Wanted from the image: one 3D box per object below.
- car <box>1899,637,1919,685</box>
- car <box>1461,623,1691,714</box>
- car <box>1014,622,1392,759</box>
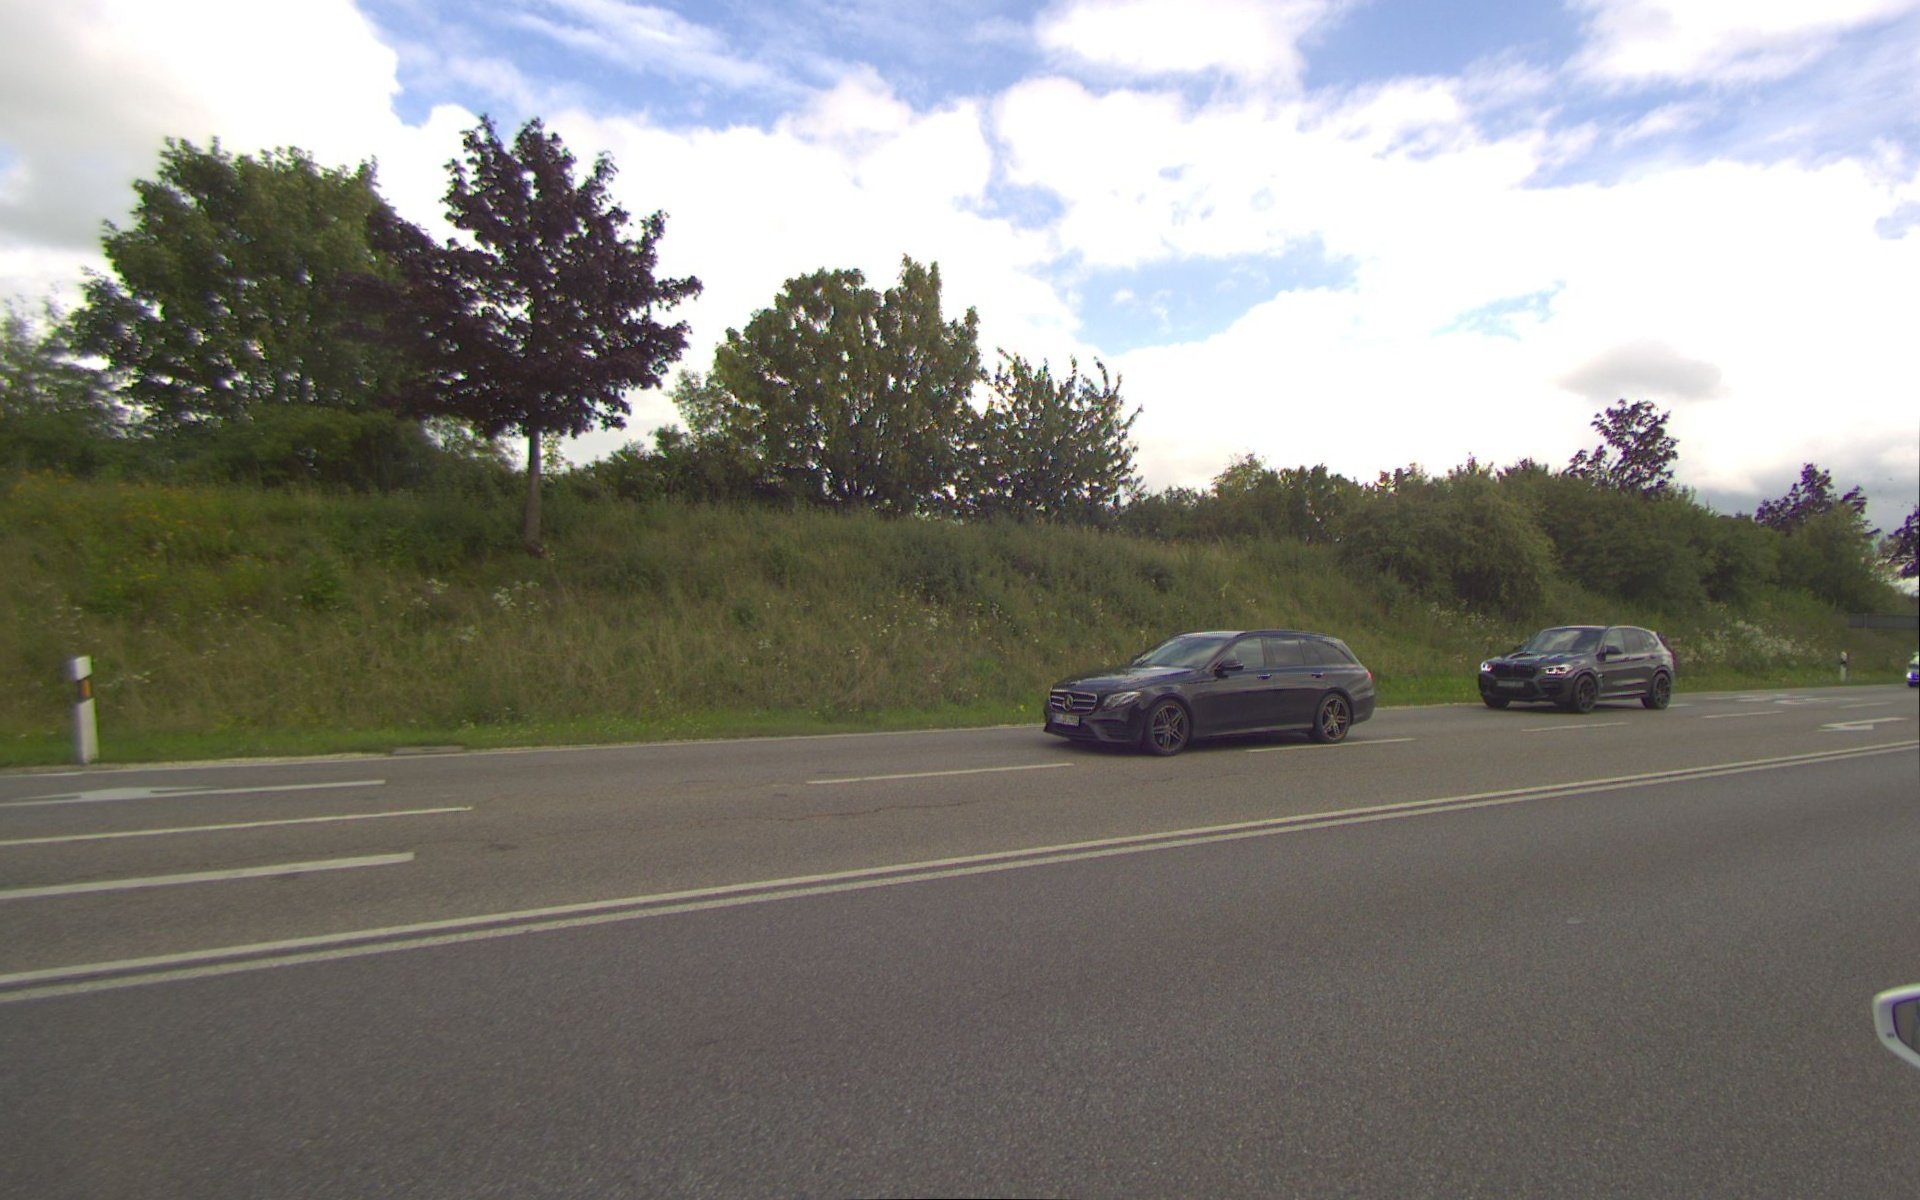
[{"bbox_3d":[31.321,1.922,31.527,4.099,1.461,1.659,2,-1,-31],"label":"car"},{"bbox_3d":[12.580,1.325,20.431,4.936,1.632,1.983,2,-1,-31],"label":"car"},{"bbox_3d":[3.308,1.092,13.344,4.935,1.514,1.984,2,-1,-31],"label":"car"}]
